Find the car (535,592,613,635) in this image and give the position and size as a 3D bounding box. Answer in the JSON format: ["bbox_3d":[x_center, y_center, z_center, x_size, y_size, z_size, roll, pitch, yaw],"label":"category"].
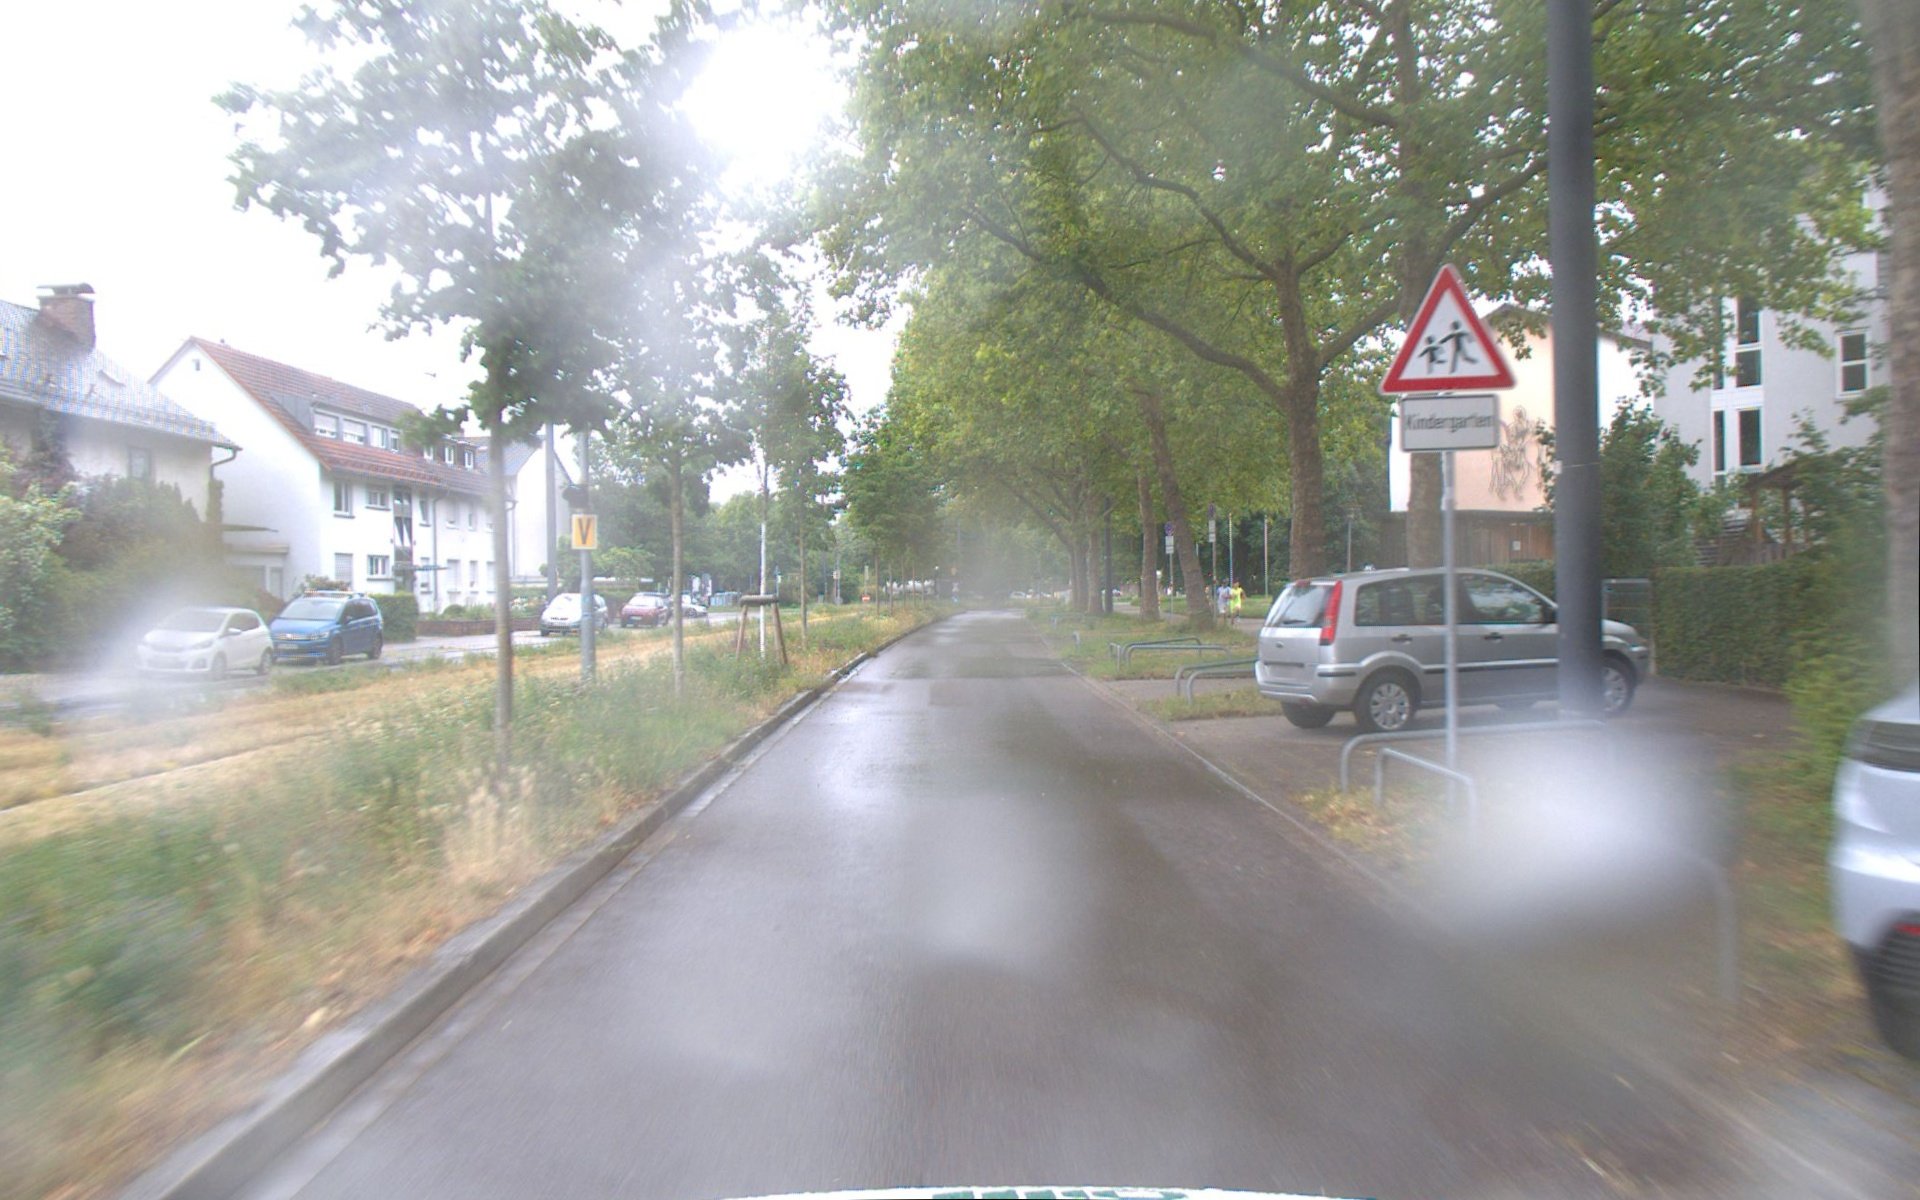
[{"bbox_3d":[-15.236,0.507,65.507,1.952,1.608,4.517,1,1,0],"label":"car"}]

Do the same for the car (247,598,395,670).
[{"bbox_3d":[-15.978,0.814,41.615,1.952,1.642,4.413,1,1,0],"label":"car"}]

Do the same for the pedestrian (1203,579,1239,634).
[{"bbox_3d":[7.703,0.195,48.903,0.817,1.565,0.859,-2,0,-4],"label":"pedestrian"}]

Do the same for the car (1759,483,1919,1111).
[{"bbox_3d":[4.785,0.443,5.447,4.726,1.697,1.968,-3,1,-38],"label":"car"}]

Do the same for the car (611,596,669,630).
[{"bbox_3d":[-15.336,0.583,79.450,1.952,1.514,4.206,1,1,0],"label":"car"}]

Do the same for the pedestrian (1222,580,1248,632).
[{"bbox_3d":[8.505,0.175,51.245,0.545,1.565,0.966,-2,0,-4],"label":"pedestrian"}]

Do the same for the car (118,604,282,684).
[{"bbox_3d":[-16.000,0.891,35.015,1.759,1.514,3.597,1,1,0],"label":"car"}]

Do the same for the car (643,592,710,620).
[{"bbox_3d":[-18.193,0.358,106.174,3.906,1.645,1.999,-2,0,-2],"label":"car"}]

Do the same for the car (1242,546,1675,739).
[{"bbox_3d":[4.896,0.371,16.365,3.791,1.593,1.613,-3,1,-15],"label":"car"}]
